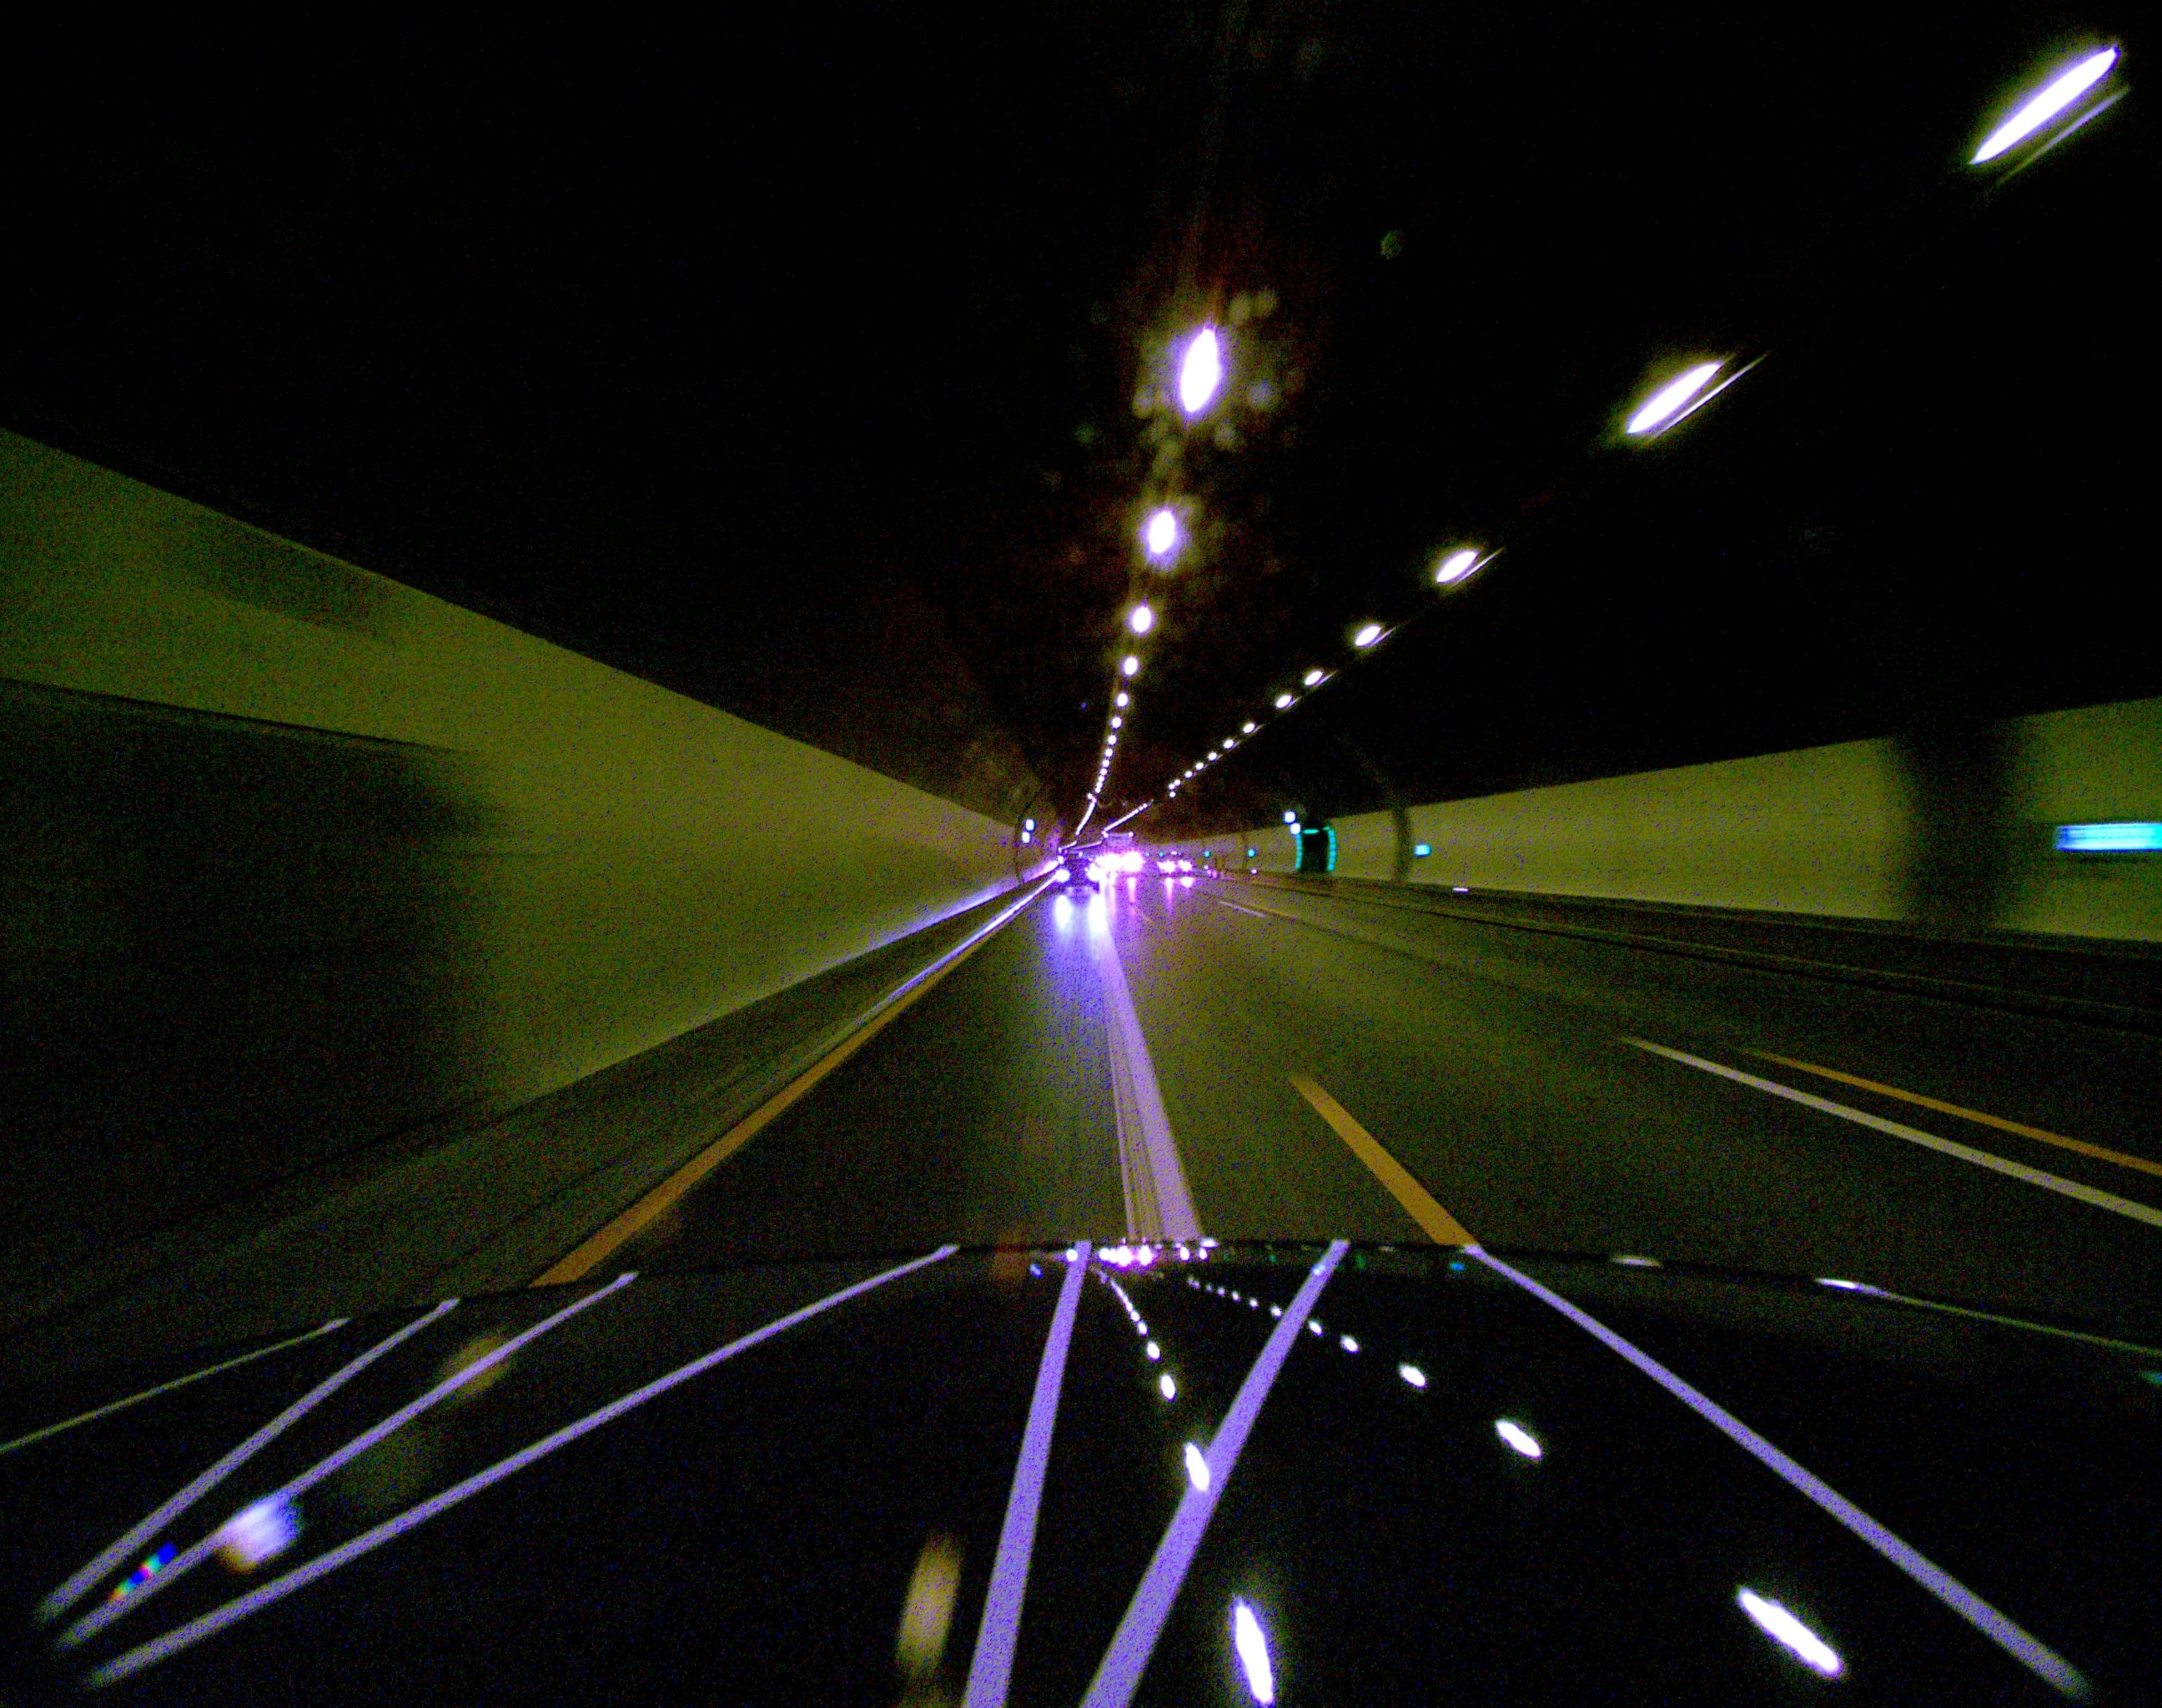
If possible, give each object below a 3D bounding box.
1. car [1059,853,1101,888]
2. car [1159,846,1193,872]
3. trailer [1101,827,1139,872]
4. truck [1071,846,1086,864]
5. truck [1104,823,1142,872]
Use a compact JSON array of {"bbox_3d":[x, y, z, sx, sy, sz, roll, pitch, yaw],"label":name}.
[{"bbox_3d":[0.004,0.721,35.730,1.727,1.474,4.000,-2,0,3],"label":"car"},{"bbox_3d":[6.300,0.319,50.560,1.766,1.563,4.097,-2,1,1],"label":"car"},{"bbox_3d":[3.086,-0.379,62.833,2.374,3.328,12.077,0,0,0],"label":"trailer"},{"bbox_3d":[-0.389,0.266,122.494,2.151,2.609,9.908,-2,-1,0],"label":"truck"},{"bbox_3d":[3.040,-0.485,56.532,2.374,3.328,4.718,-4,1,0],"label":"truck"}]
